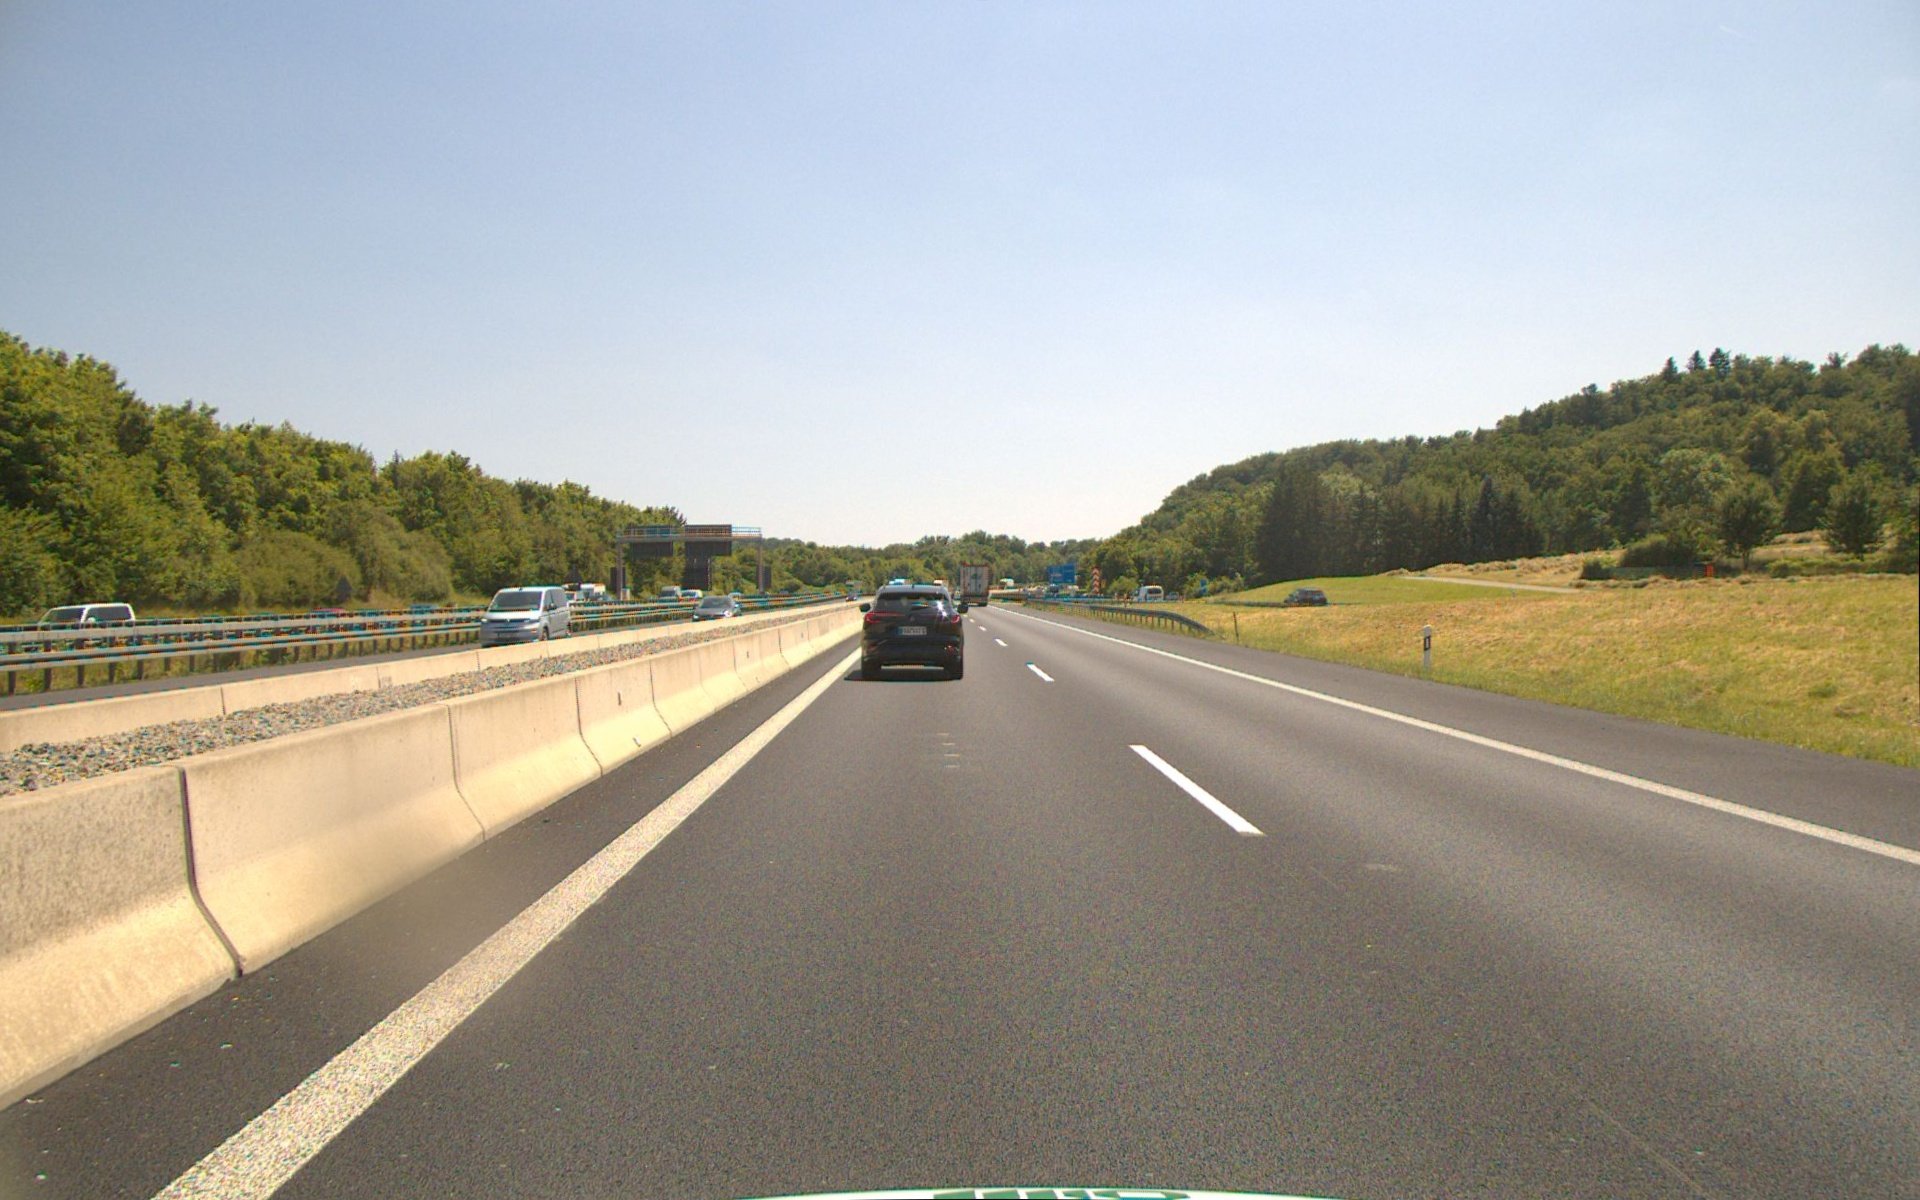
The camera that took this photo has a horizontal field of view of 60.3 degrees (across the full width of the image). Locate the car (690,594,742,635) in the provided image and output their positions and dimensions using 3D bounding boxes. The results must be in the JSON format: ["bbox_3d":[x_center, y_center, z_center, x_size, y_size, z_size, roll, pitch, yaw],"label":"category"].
[{"bbox_3d":[-10.386,0.589,70.708,1.758,1.623,4.305,-1,1,-3],"label":"car"}]

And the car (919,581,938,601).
[{"bbox_3d":[-3.639,-1.009,192.932,2.094,2.255,5.087,1,0,-1],"label":"car"}]

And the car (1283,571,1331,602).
[{"bbox_3d":[23.760,-0.912,113.298,1.956,2.049,3.993,-2,0,-7],"label":"car"}]

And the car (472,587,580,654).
[{"bbox_3d":[-13.387,0.587,51.318,1.953,1.874,5.084,-3,0,0],"label":"car"}]

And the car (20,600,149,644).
[{"bbox_3d":[-33.622,0.817,63.686,1.951,1.605,4.995,1,0,5],"label":"car"}]

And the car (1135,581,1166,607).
[{"bbox_3d":[15.729,-0.525,136.731,1.953,2.049,4.000,-2,0,0],"label":"car"}]

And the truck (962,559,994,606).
[{"bbox_3d":[1.878,-1.697,168.511,2.969,4.495,12.020,-2,0,1],"label":"truck"}]

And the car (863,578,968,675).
[{"bbox_3d":[-0.869,0.453,29.857,1.744,1.605,3.997,1,0,-3],"label":"car"}]

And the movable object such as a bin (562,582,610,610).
[{"bbox_3d":[-29.373,-0.296,130.046,2.456,2.049,6.777,1,0,-2],"label":"movable object such as a bin"}]
